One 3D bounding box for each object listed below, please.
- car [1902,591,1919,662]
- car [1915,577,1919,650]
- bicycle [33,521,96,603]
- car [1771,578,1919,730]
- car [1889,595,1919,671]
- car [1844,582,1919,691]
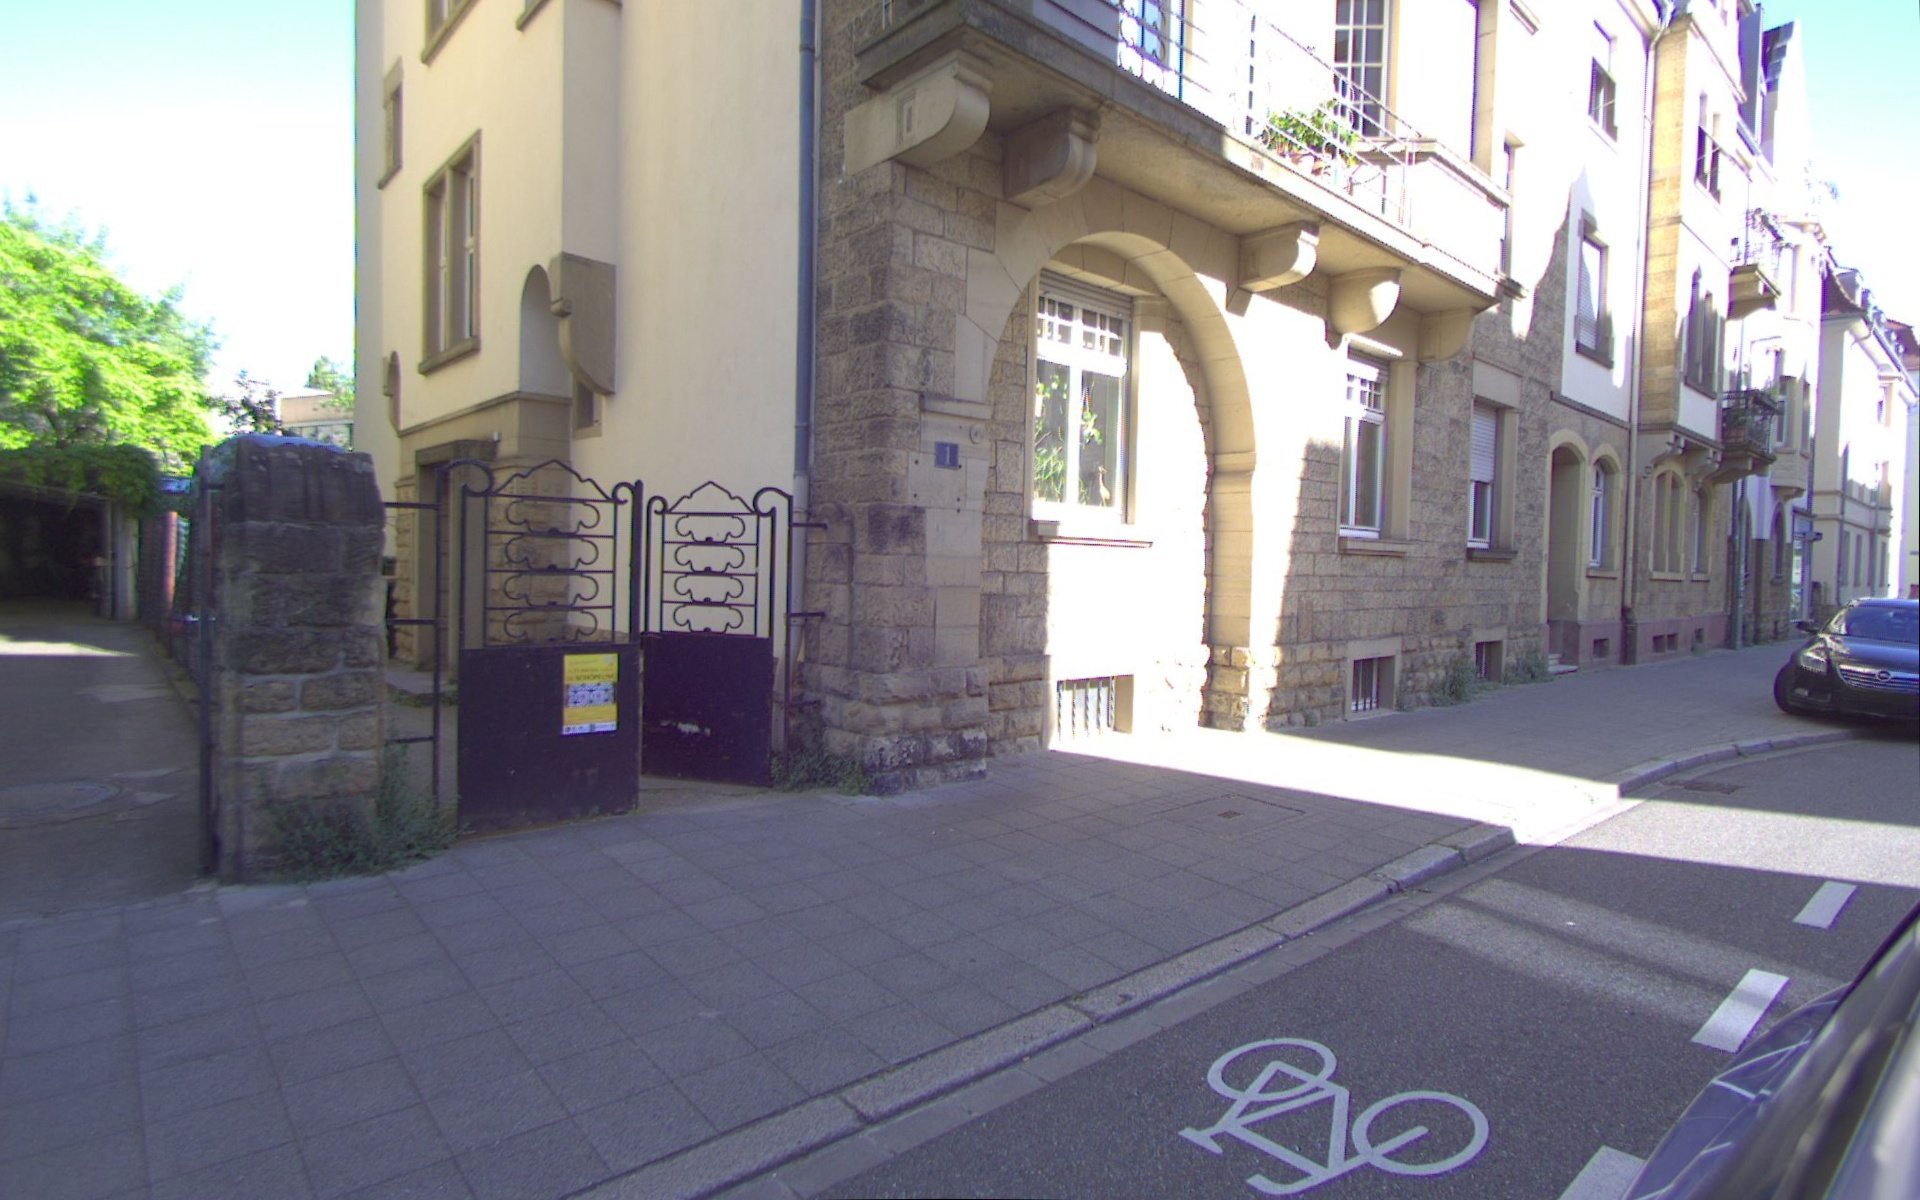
[{"bbox_3d":[22.172,0.583,22.193,4.247,1.440,1.823,-1,4,-42],"label":"car"},{"bbox_3d":[26.235,0.338,26.050,4.247,1.860,2.004,-1,4,-42],"label":"car"},{"bbox_3d":[-18.300,-0.810,20.724,0.903,1.530,2.672,0,4,-41],"label":"bicycle"},{"bbox_3d":[11.512,0.570,12.190,4.043,1.526,2.023,-1,5,-42],"label":"car"},{"bbox_3d":[18.796,0.620,18.971,3.667,1.295,1.659,-1,4,-42],"label":"car"},{"bbox_3d":[15.533,0.567,15.867,4.247,1.527,2.004,0,3,-42],"label":"car"}]
